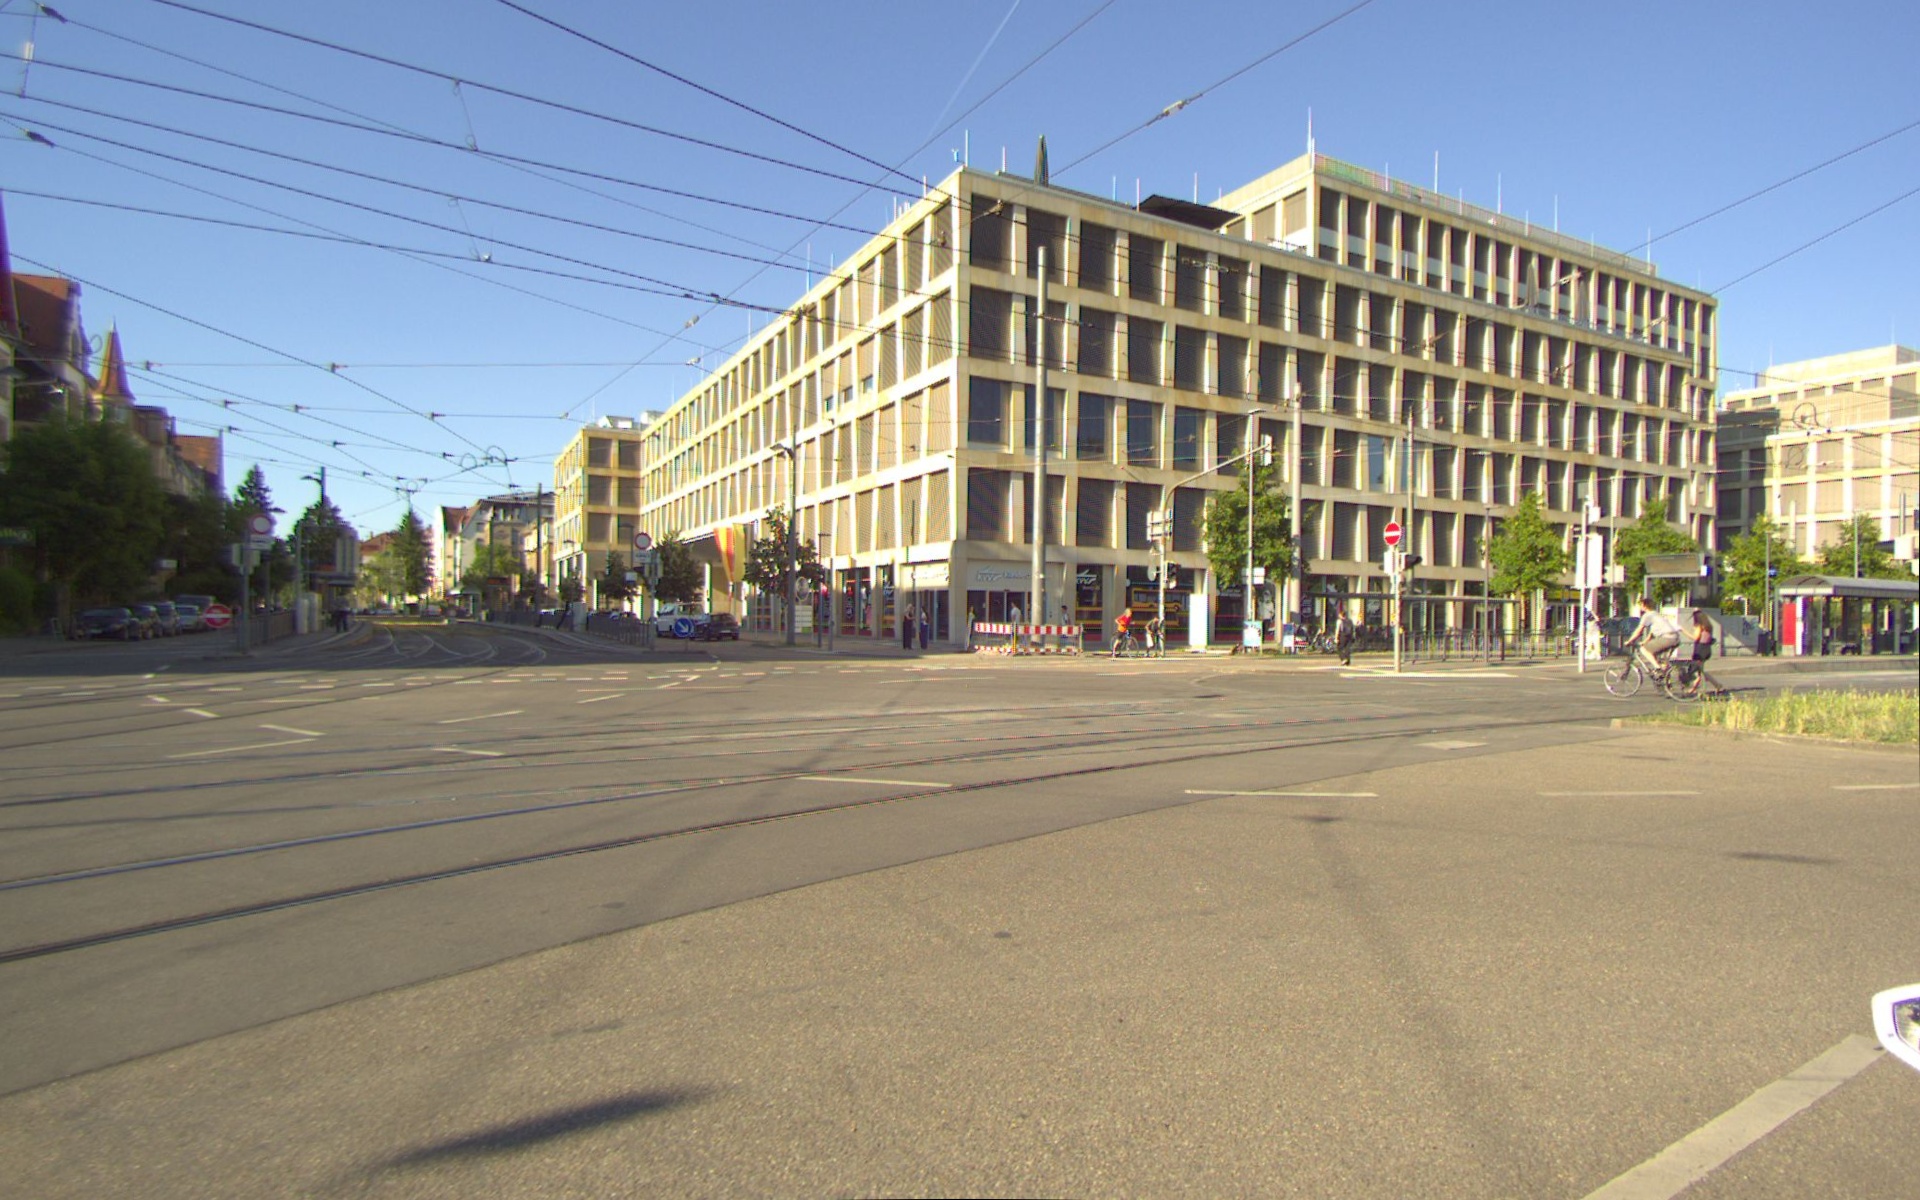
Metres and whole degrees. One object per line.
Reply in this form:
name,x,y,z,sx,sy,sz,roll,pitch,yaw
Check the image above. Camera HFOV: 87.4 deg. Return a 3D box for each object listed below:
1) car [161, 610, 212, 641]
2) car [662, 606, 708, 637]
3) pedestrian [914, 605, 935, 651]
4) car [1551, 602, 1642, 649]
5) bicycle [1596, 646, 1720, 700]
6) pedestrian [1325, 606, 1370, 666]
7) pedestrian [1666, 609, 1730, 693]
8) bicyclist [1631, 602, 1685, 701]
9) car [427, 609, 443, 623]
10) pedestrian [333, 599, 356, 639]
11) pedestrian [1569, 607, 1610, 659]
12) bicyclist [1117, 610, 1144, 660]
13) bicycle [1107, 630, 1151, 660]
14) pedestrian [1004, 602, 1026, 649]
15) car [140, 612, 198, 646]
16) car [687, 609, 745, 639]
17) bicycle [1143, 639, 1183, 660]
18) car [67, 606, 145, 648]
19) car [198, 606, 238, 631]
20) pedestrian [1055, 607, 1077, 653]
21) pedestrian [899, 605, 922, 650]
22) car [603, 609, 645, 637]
car,-41.658,1.358,54.145,1.707,1.595,3.967,1,-1,-31
car,-15.627,1.201,56.915,1.631,1.683,3.620,1,-1,-30
pedestrian,-1.326,1.058,37.719,0.576,1.704,0.612,1,-1,-31
car,29.108,1.148,45.939,3.954,2.040,1.984,1,-1,-31
bicycle,13.185,1.358,19.031,0.508,0.923,1.872,1,-1,-33
pedestrian,10.963,1.007,28.421,0.790,1.666,0.921,1,-1,-41
pedestrian,15.178,1.024,20.654,0.790,1.666,0.921,1,-1,-41
bicyclist,13.194,0.957,18.989,0.640,1.832,0.662,1,-1,-33
car,-79.758,2.400,152.599,1.977,2.040,3.968,1,-1,-30
pedestrian,-26.294,0.806,42.894,0.606,1.704,0.582,0,-1,29
pedestrian,20.540,1.057,32.766,0.921,1.666,0.791,1,-1,-27
bicyclist,5.699,1.156,33.638,0.674,1.640,0.627,1,-1,-20
bicycle,5.669,1.495,33.723,0.598,0.890,1.882,1,1,-20
pedestrian,2.021,0.942,37.018,0.574,1.704,0.613,1,-1,-23
car,-38.674,1.398,49.208,1.707,1.595,3.967,1,-1,-31
car,-12.662,1.198,51.976,1.869,1.483,3.968,1,-1,-30
bicycle,6.829,1.659,33.874,0.504,0.617,1.719,1,0,-19
car,-34.021,1.051,40.124,1.707,1.595,3.967,1,-1,-31
car,-49.543,1.228,67.129,1.707,1.595,3.967,1,-1,-31
pedestrian,3.967,1.116,37.533,0.576,1.704,0.612,1,-1,-31
pedestrian,-1.881,1.048,38.285,0.632,1.704,0.611,1,-1,-32
car,-23.526,1.592,70.253,1.977,1.847,3.968,1,-1,-30
